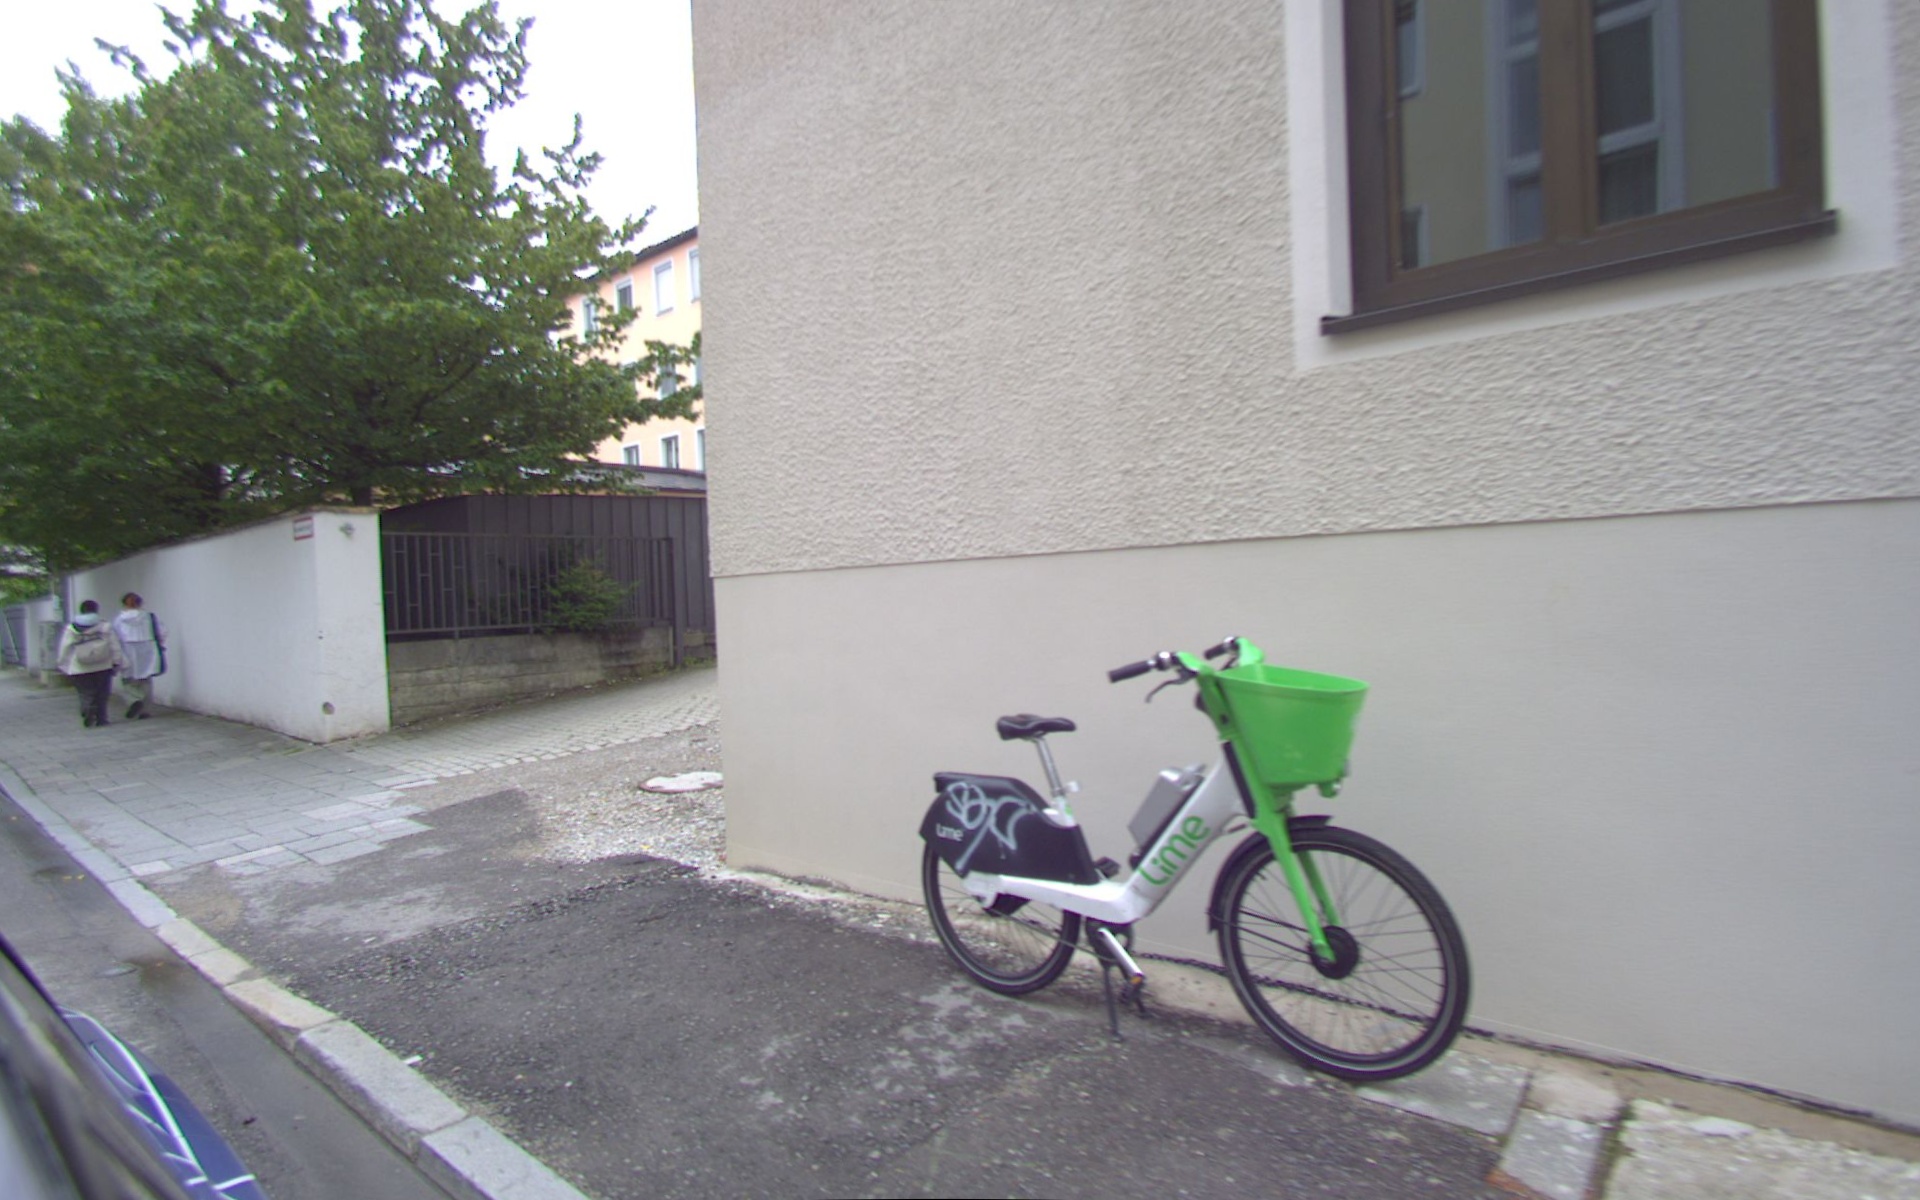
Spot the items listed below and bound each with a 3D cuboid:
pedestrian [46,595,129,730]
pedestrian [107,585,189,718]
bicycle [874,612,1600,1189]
[{"bbox_3d":[-10.832,0.756,12.568,0.713,1.590,0.616,-1,2,41],"label":"pedestrian"},{"bbox_3d":[-10.510,0.646,13.102,0.687,1.633,0.607,-1,3,41],"label":"pedestrian"},{"bbox_3d":[0.646,0.638,2.889,1.915,1.147,0.532,-2,2,41],"label":"bicycle"}]
